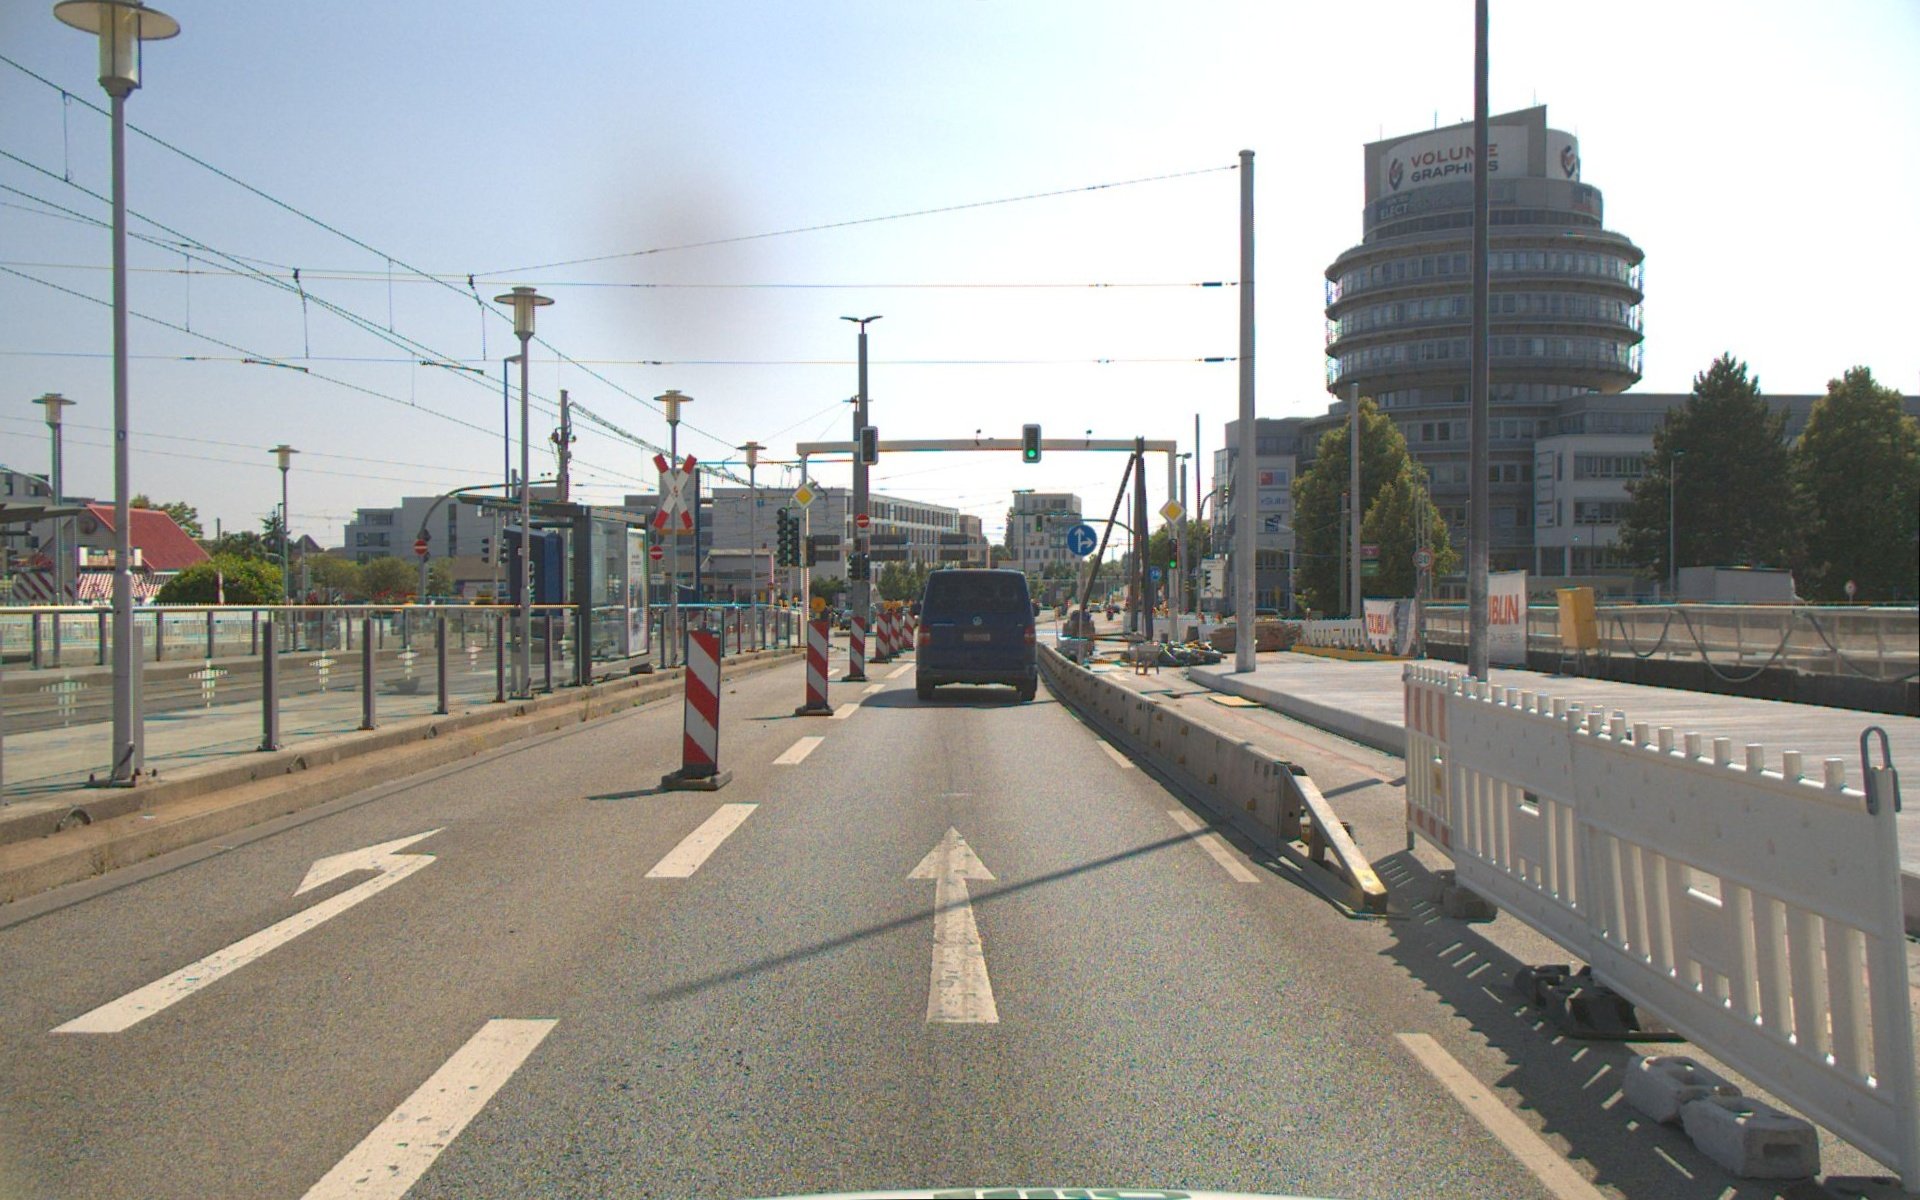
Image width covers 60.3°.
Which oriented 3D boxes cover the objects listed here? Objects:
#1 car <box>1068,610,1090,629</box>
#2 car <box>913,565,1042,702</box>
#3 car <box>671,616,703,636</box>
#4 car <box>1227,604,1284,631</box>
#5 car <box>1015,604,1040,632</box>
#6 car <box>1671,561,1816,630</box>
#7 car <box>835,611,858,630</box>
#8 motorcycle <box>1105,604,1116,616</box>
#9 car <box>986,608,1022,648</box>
[{"bbox_3d":[10.111,1.641,140.528,1.708,1.501,3.885,0,0,2],"label":"car"},{"bbox_3d":[0.259,0.456,26.246,1.849,1.968,4.000,1,1,0],"label":"car"},{"bbox_3d":[-21.566,2.043,130.800,1.741,1.565,4.000,1,0,1],"label":"car"},{"bbox_3d":[20.767,1.218,116.378,3.735,1.829,1.681,1,1,0],"label":"car"},{"bbox_3d":[4.448,1.186,109.357,1.611,1.758,3.718,1,0,2],"label":"car"},{"bbox_3d":[34.948,-0.187,73.811,5.860,2.937,2.334,1,1,-19],"label":"car"},{"bbox_3d":[-9.415,1.679,137.544,1.712,1.512,3.999,0,0,-1],"label":"car"},{"bbox_3d":[16.809,1.088,184.448,1.137,1.264,3.010,1,0,8],"label":"motorcycle"},{"bbox_3d":[2.118,1.303,78.906,1.611,1.758,4.001,1,0,2],"label":"car"}]
